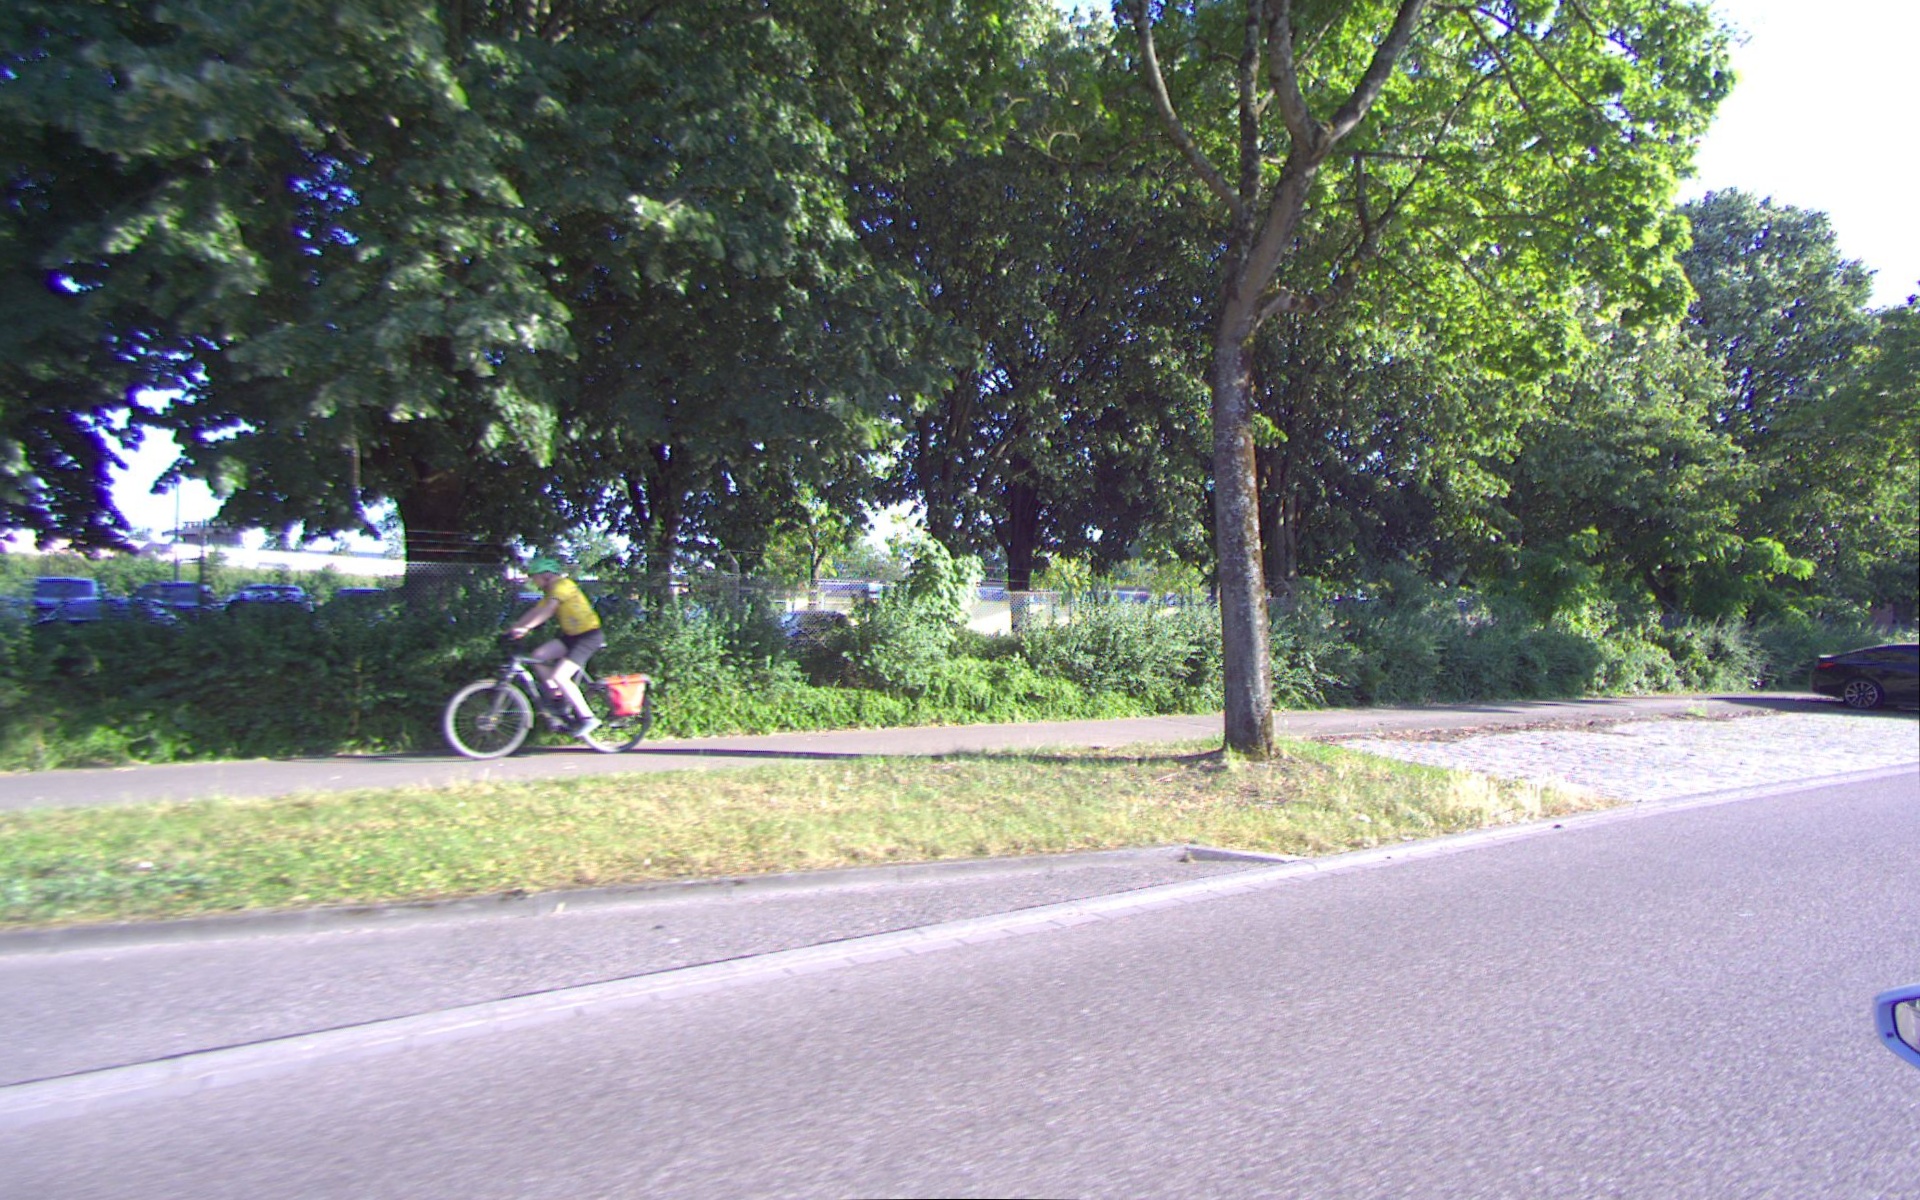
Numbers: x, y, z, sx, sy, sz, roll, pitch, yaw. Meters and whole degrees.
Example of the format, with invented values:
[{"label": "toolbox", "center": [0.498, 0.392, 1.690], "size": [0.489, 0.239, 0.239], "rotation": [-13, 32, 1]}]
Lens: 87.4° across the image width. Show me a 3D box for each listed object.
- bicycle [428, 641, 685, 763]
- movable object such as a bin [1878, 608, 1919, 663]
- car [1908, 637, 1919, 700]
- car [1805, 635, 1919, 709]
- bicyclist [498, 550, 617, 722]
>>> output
[{"label": "bicycle", "center": [-3.843, 0.931, 9.635], "size": [2.191, 1.053, 0.762], "rotation": [2, -2, -31]}, {"label": "movable object such as a bin", "center": [49.589, 1.844, 51.642], "size": [2.124, 2.699, 4.801], "rotation": [0, -2, 25]}, {"label": "car", "center": [25.511, 1.760, 23.637], "size": [1.976, 1.551, 4.268], "rotation": [2, 0, -28]}, {"label": "car", "center": [20.722, 1.558, 20.768], "size": [1.895, 1.440, 4.624], "rotation": [2, 0, -32]}, {"label": "bicyclist", "center": [-3.854, 0.344, 9.614], "size": [0.940, 1.550, 0.727], "rotation": [2, -2, -30]}]
